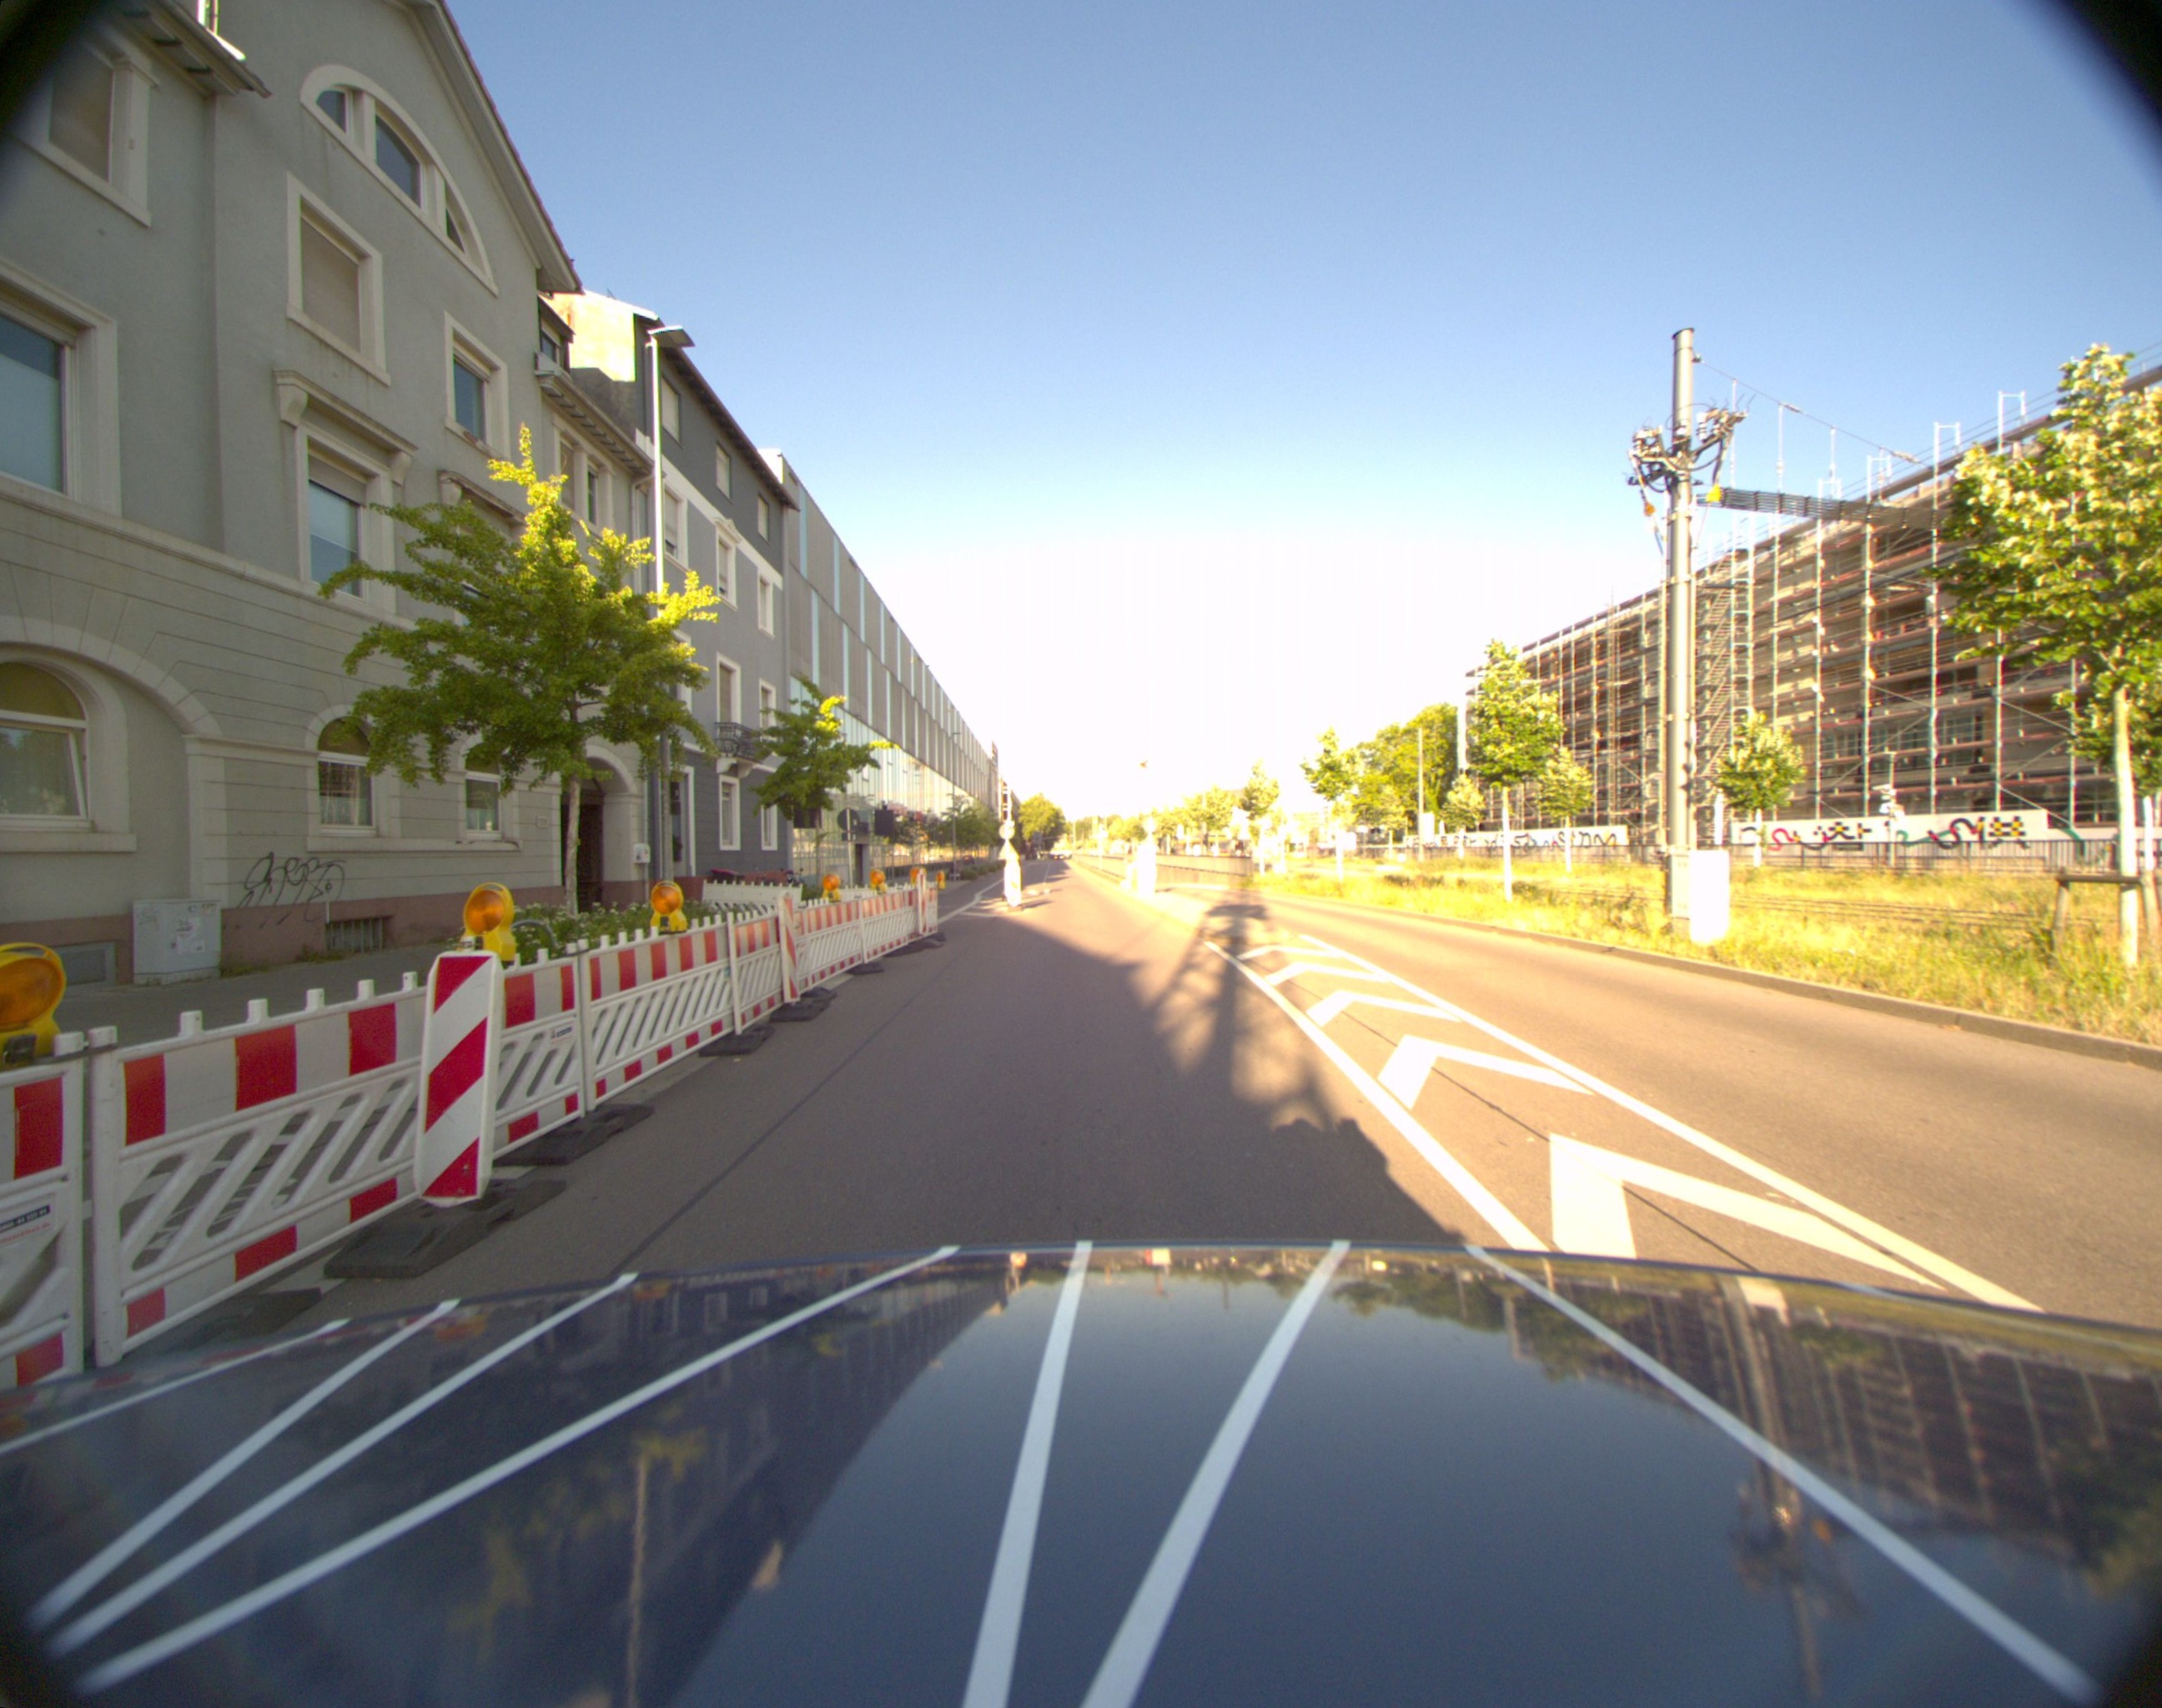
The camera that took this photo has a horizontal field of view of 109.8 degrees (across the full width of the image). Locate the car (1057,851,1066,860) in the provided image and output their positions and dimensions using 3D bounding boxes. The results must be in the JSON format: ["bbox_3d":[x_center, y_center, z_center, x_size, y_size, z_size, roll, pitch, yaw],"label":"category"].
[{"bbox_3d":[-4.799,0.401,187.485,1.941,2.002,3.825,-1,1,-3],"label":"car"}]

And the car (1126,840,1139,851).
[{"bbox_3d":[8.845,-1.442,131.273,1.998,1.740,3.999,-2,1,1],"label":"car"}]

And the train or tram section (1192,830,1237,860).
[{"bbox_3d":[16.388,-1.168,94.320,2.954,3.378,12.629,-2,1,-2],"label":"train or tram section"}]

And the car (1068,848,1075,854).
[{"bbox_3d":[-2.978,-0.922,239.551,1.941,2.002,3.825,-1,1,-3],"label":"car"}]
